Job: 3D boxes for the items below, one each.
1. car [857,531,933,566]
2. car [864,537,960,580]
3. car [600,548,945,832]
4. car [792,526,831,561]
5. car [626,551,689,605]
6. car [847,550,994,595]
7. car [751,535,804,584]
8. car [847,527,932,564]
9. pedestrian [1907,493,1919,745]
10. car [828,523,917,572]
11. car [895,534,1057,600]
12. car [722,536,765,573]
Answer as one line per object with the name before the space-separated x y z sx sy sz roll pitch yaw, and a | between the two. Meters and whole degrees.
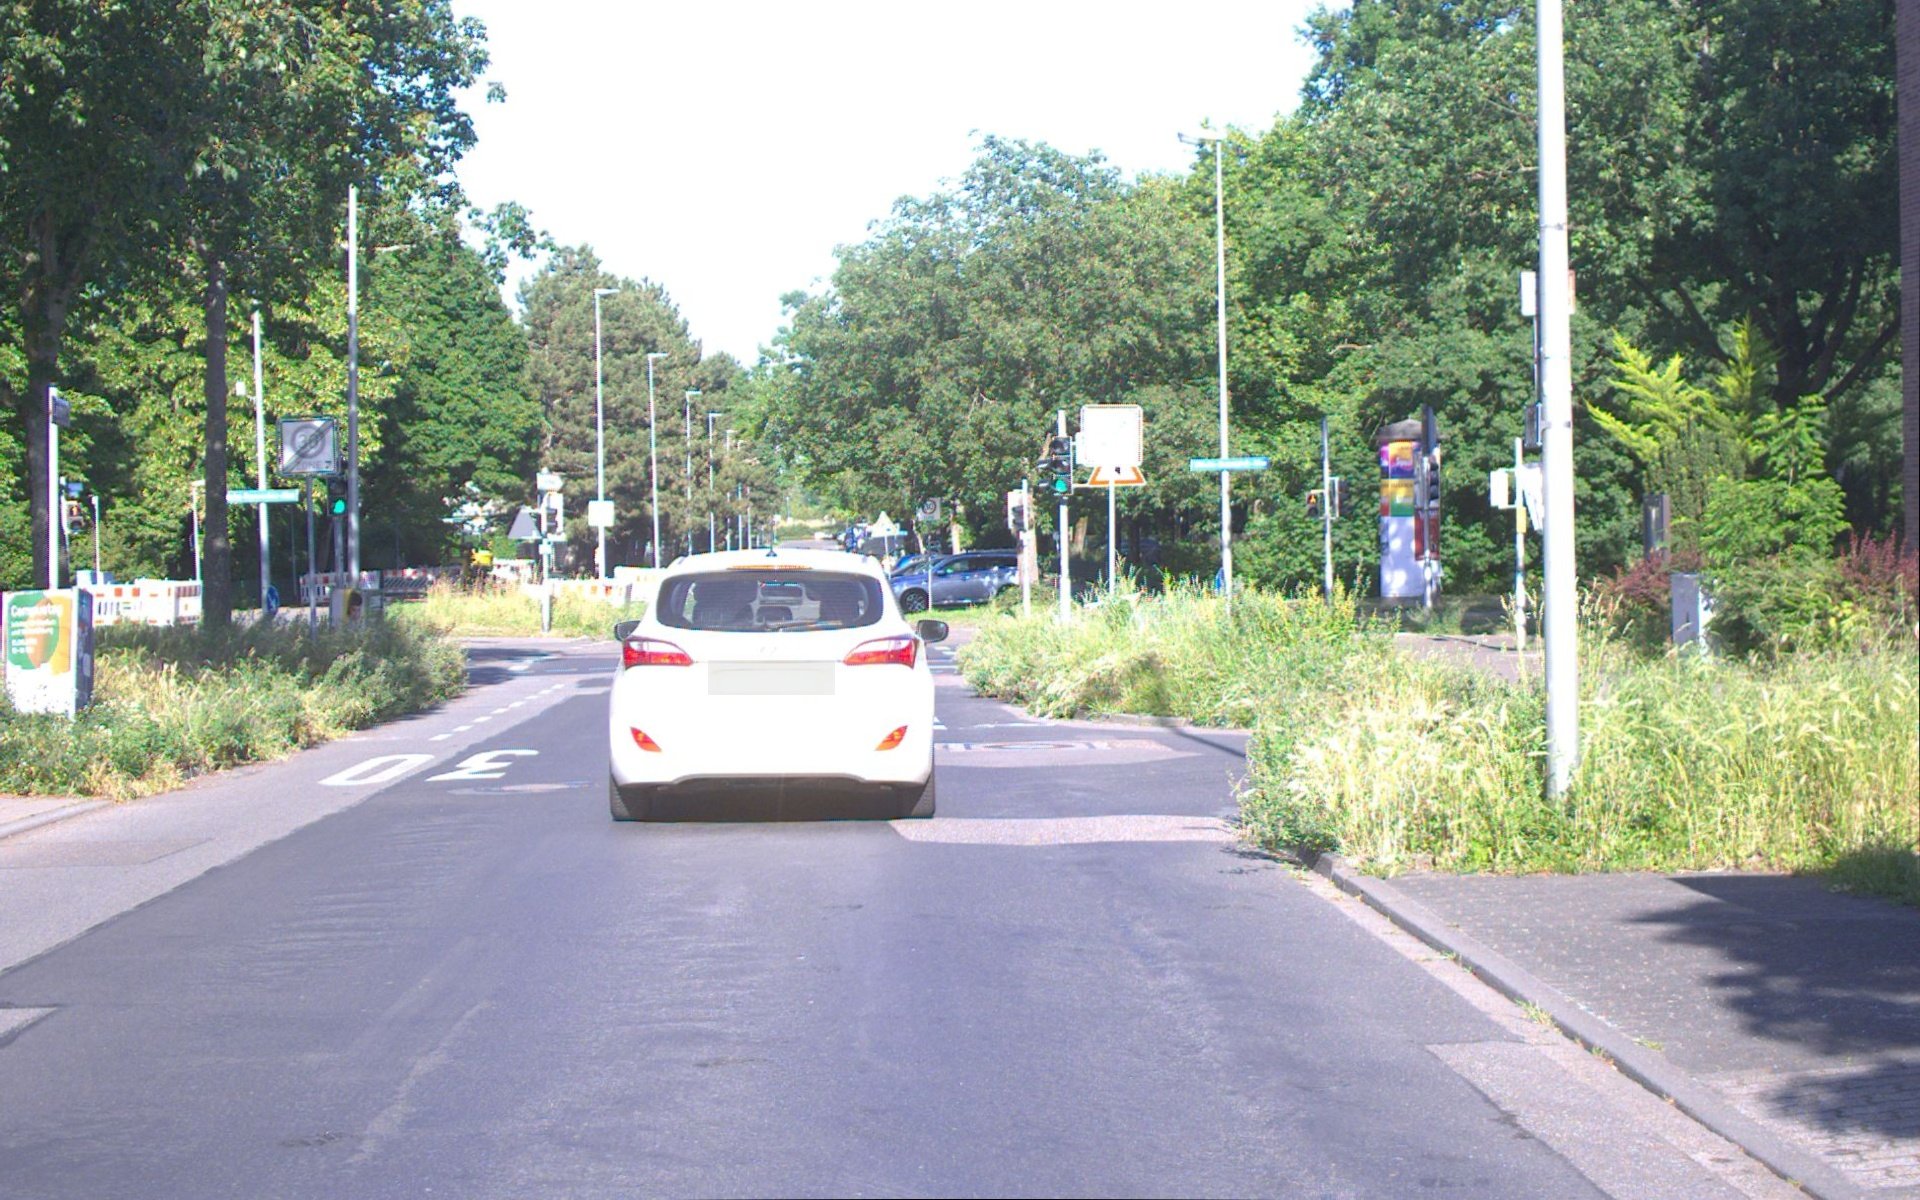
car | -3.283 -2.595 172.964 3.819 1.761 1.863 0 0 -2
car | -1.944 -1.675 138.783 3.819 1.678 1.863 0 0 -2
car | -1.055 0.437 19.933 1.789 1.458 3.964 0 1 -2
car | -7.755 -2.927 179.795 1.993 1.809 4.000 0 0 -2
car | -10.612 -0.773 120.688 1.993 1.809 4.001 0 1 -2
car | -1.531 -1.064 132.079 5.613 1.678 1.948 0 0 -2
car | -7.169 -1.605 135.191 1.993 1.809 4.001 2 1 -3
car | -3.637 -2.790 176.101 4.301 1.901 1.863 0 0 -2
pedestrian | 7.363 0.138 24.766 0.899 1.815 0.736 0 0 3
car | -3.801 -2.276 148.764 3.819 2.091 1.863 0 0 -2
car | 0.454 -0.926 96.779 4.499 1.777 1.855 -1 1 1
car | -10.648 -2.245 169.013 1.993 1.809 4.001 0 1 -2
